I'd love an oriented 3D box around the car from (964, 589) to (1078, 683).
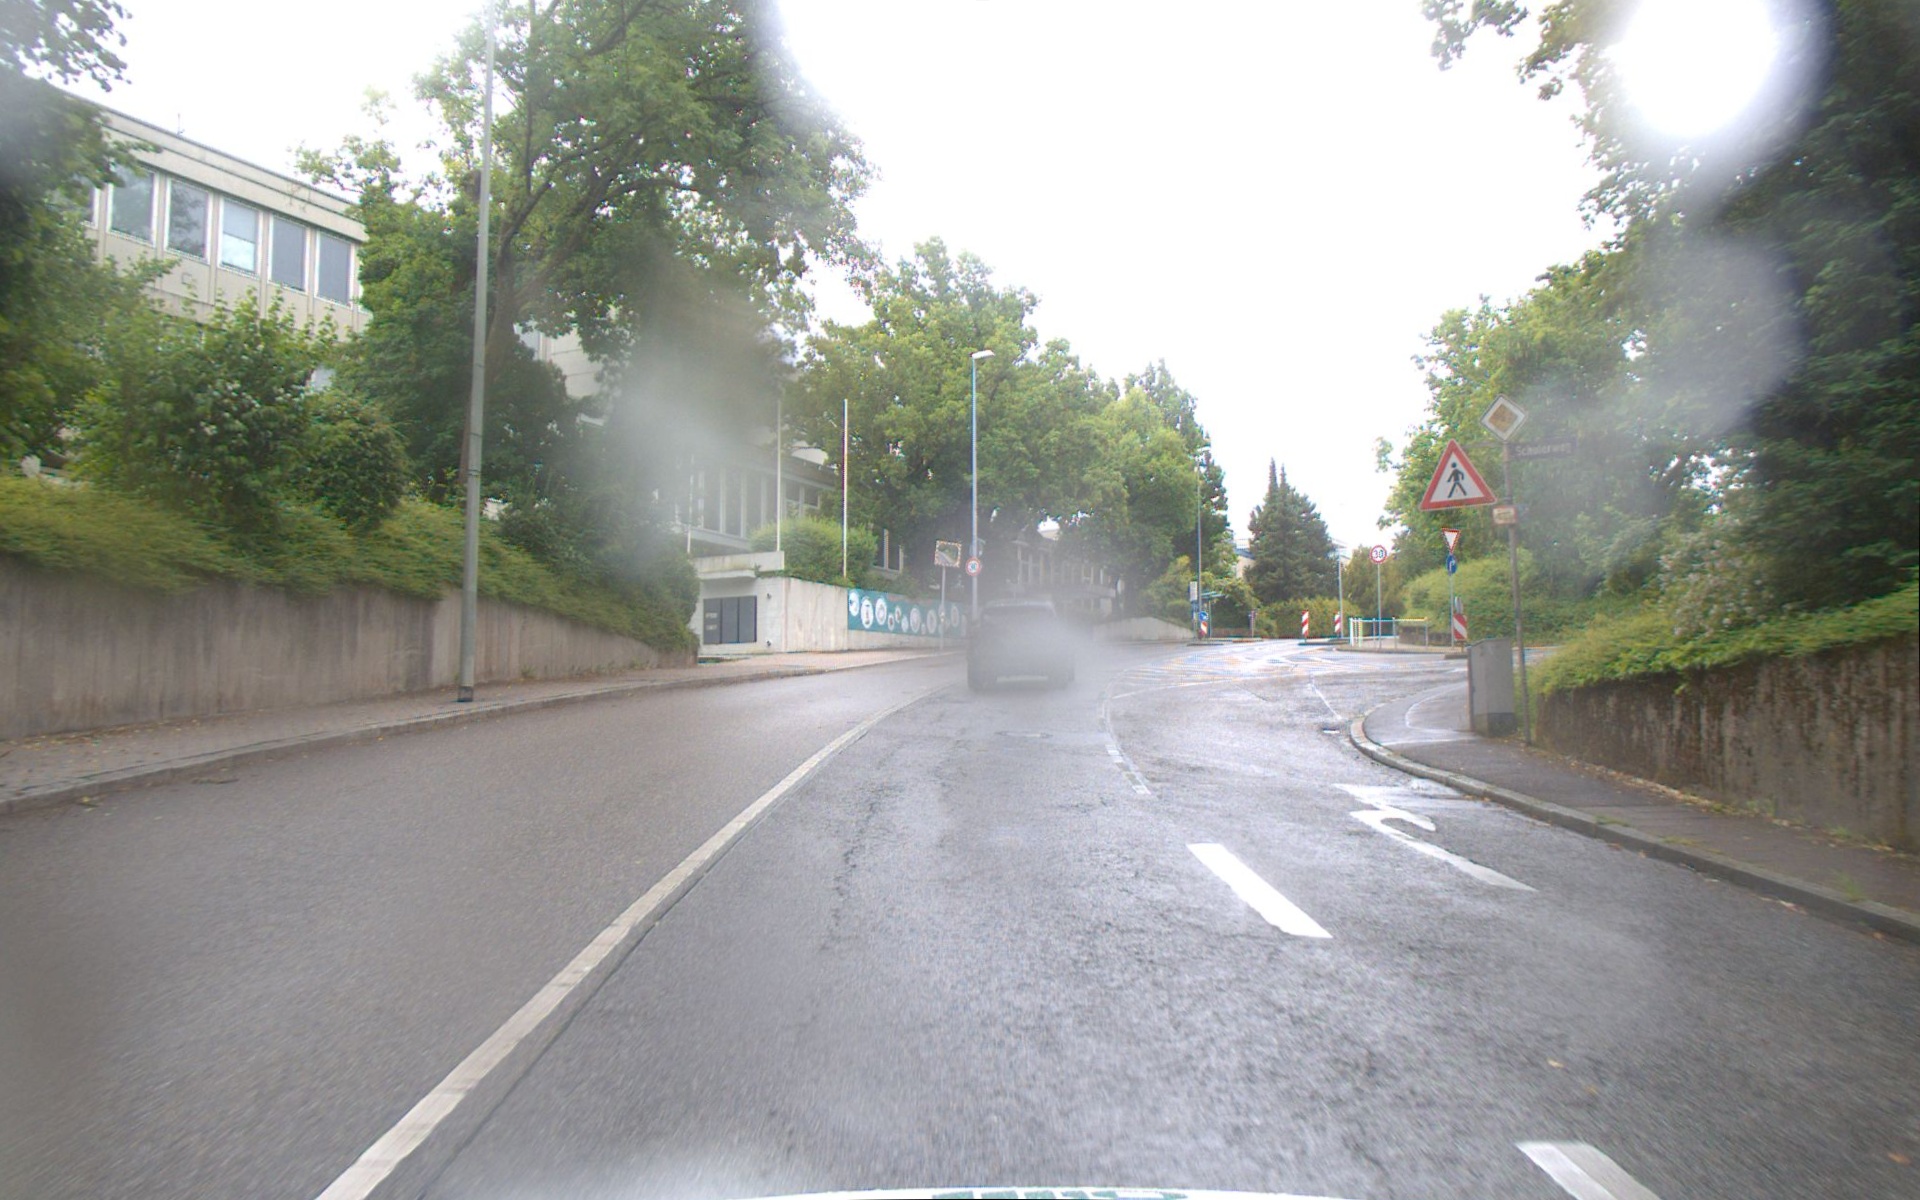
[{"bbox_3d":[1.207,0.631,30.969,1.887,1.641,4.003,0,0,5],"label":"car"}]
